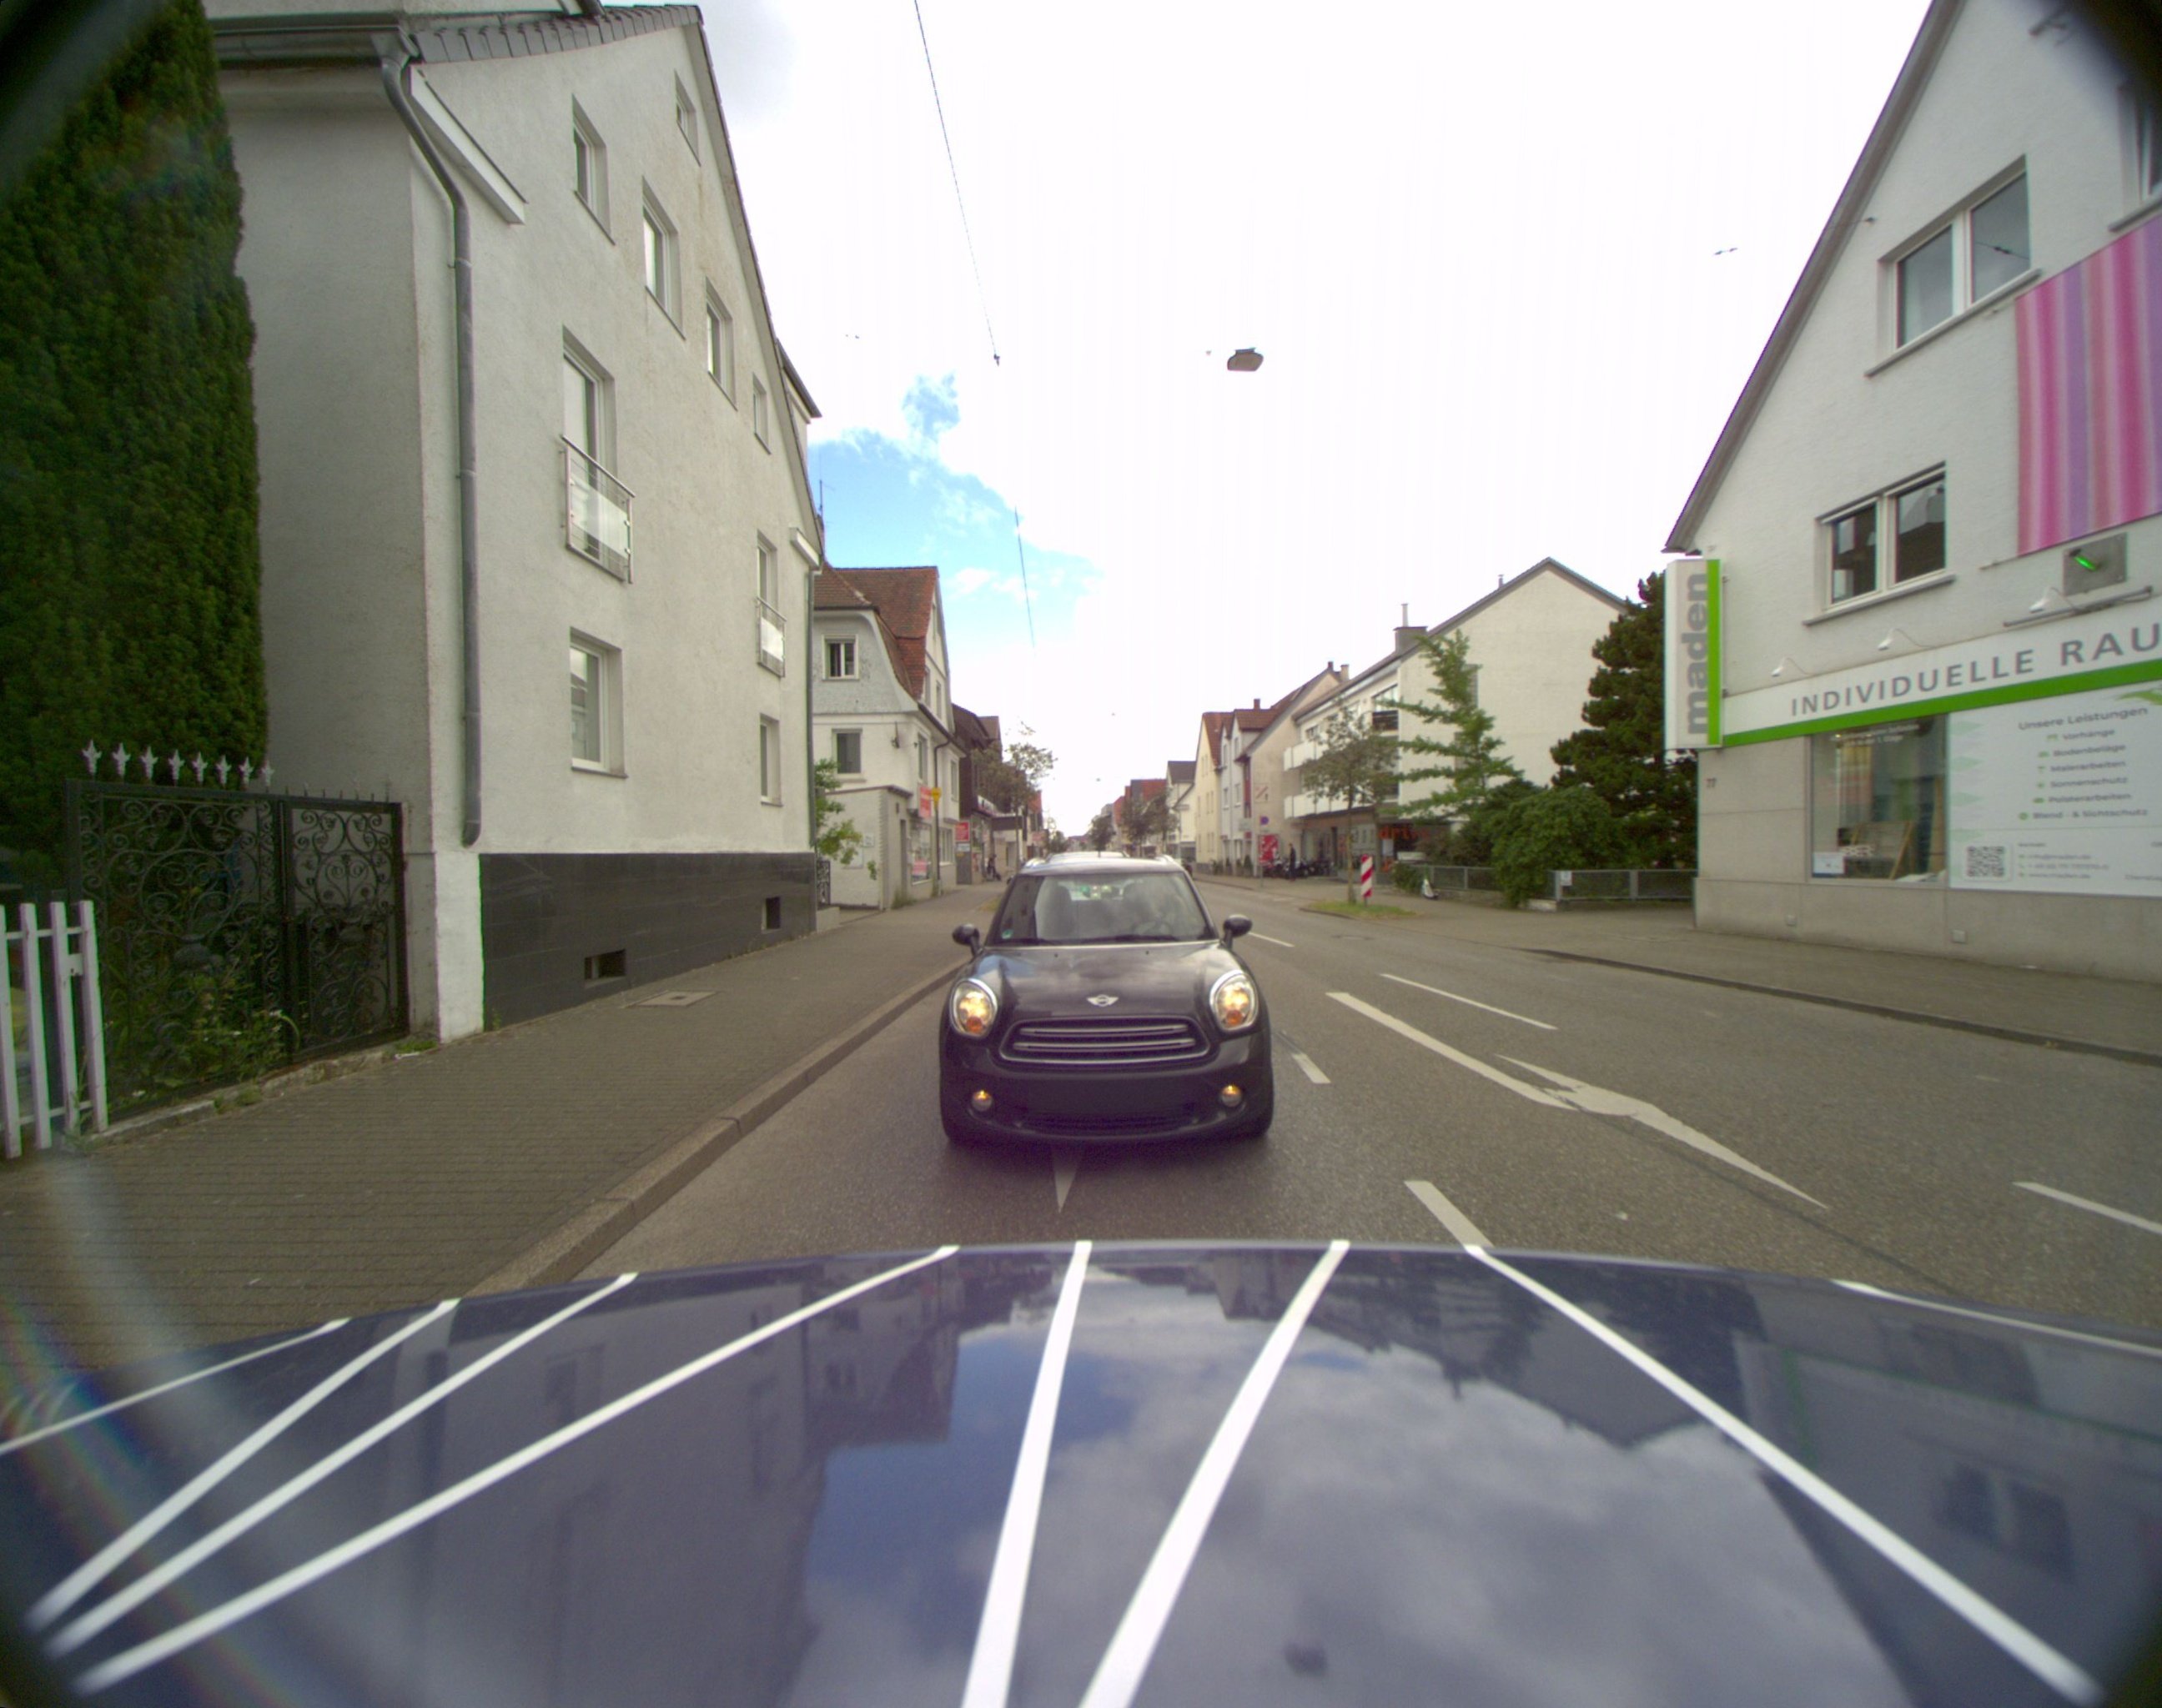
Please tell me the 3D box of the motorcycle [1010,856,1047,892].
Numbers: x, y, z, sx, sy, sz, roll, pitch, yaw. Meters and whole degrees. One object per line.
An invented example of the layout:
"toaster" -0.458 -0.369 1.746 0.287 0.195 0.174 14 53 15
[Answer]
"motorcycle" -2.253 0.843 32.922 0.648 1.432 2.472 -2 1 19

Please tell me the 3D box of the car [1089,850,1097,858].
"car" 2.930 -0.067 189.782 1.855 1.932 4.489 1 0 -2

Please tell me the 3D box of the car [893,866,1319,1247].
"car" 0.040 0.929 5.745 1.855 1.527 4.735 -2 0 -2

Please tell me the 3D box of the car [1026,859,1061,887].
"car" -2.086 1.033 43.115 1.830 1.400 4.564 -2 0 -1

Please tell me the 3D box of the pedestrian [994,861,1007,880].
"pedestrian" -4.949 1.013 46.820 0.742 1.204 0.644 0 1 -1

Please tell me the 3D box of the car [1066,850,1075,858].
"car" -2.530 0.011 181.398 2.059 2.002 4.186 -2 0 -1

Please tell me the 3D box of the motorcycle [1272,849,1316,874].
"motorcycle" 11.858 0.430 42.353 2.231 1.258 0.699 -4 1 -2

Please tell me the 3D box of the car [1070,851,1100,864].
"car" 0.594 0.562 112.662 3.993 1.772 2.002 -2 1 12

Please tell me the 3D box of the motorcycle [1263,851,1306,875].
"motorcycle" 11.766 0.505 43.907 2.231 1.258 0.613 -4 1 -2

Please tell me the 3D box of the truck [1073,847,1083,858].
"truck" -0.897 -0.583 219.274 2.800 3.020 8.250 -2 0 0

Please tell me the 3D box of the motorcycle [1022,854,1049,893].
"motorcycle" -1.880 0.788 31.773 0.672 1.516 2.599 -2 1 6

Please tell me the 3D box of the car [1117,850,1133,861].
"car" 5.610 0.163 97.148 1.716 1.389 3.899 -2 0 -2

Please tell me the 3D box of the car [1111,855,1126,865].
"car" 5.264 0.814 107.789 1.716 1.389 3.899 -2 0 -2

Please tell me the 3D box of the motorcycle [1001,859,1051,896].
"motorcycle" -2.145 0.896 29.395 0.777 1.373 2.237 -2 1 -37

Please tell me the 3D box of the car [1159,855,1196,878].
"car" 6.442 0.814 51.125 1.792 1.409 4.340 0 0 -1

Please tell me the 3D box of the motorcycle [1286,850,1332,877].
"motorcycle" 12.238 0.508 40.808 2.231 1.258 0.613 -4 1 -2

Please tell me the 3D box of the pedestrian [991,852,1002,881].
"pedestrian" -5.100 0.731 46.010 0.644 1.730 0.742 0 1 -6

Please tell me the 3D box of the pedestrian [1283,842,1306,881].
"pedestrian" 10.574 0.350 37.688 0.753 1.838 1.019 -5 1 0

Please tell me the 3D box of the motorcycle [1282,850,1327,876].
"motorcycle" 12.216 0.505 41.578 2.231 1.258 0.613 -4 1 -2

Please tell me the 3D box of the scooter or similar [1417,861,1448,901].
"scooter or similar" 10.366 0.787 22.428 0.340 1.105 1.180 -2 1 0

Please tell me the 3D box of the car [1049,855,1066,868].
"car" -2.618 0.861 85.512 1.794 1.356 3.948 1 0 0

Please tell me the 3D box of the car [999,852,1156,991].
"car" -0.022 0.818 11.582 1.855 1.615 4.736 -2 0 0

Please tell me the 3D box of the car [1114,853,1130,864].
"car" 5.471 0.567 102.142 1.716 1.389 3.899 -2 0 -2

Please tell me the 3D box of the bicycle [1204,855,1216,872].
"bicycle" 9.414 0.700 55.469 0.515 1.189 2.023 -2 1 -1

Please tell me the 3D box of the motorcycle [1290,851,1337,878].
"motorcycle" 12.229 0.530 39.968 2.231 1.258 0.613 -4 1 -2

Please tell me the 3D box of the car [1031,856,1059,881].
"car" -2.249 0.910 48.634 1.645 1.433 3.901 -2 0 -1

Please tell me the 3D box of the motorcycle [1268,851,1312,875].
"motorcycle" 11.865 0.503 43.170 2.231 1.258 0.613 -4 1 -2

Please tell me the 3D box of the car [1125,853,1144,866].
"car" 6.045 0.632 86.421 1.716 1.389 3.899 -2 0 -2
